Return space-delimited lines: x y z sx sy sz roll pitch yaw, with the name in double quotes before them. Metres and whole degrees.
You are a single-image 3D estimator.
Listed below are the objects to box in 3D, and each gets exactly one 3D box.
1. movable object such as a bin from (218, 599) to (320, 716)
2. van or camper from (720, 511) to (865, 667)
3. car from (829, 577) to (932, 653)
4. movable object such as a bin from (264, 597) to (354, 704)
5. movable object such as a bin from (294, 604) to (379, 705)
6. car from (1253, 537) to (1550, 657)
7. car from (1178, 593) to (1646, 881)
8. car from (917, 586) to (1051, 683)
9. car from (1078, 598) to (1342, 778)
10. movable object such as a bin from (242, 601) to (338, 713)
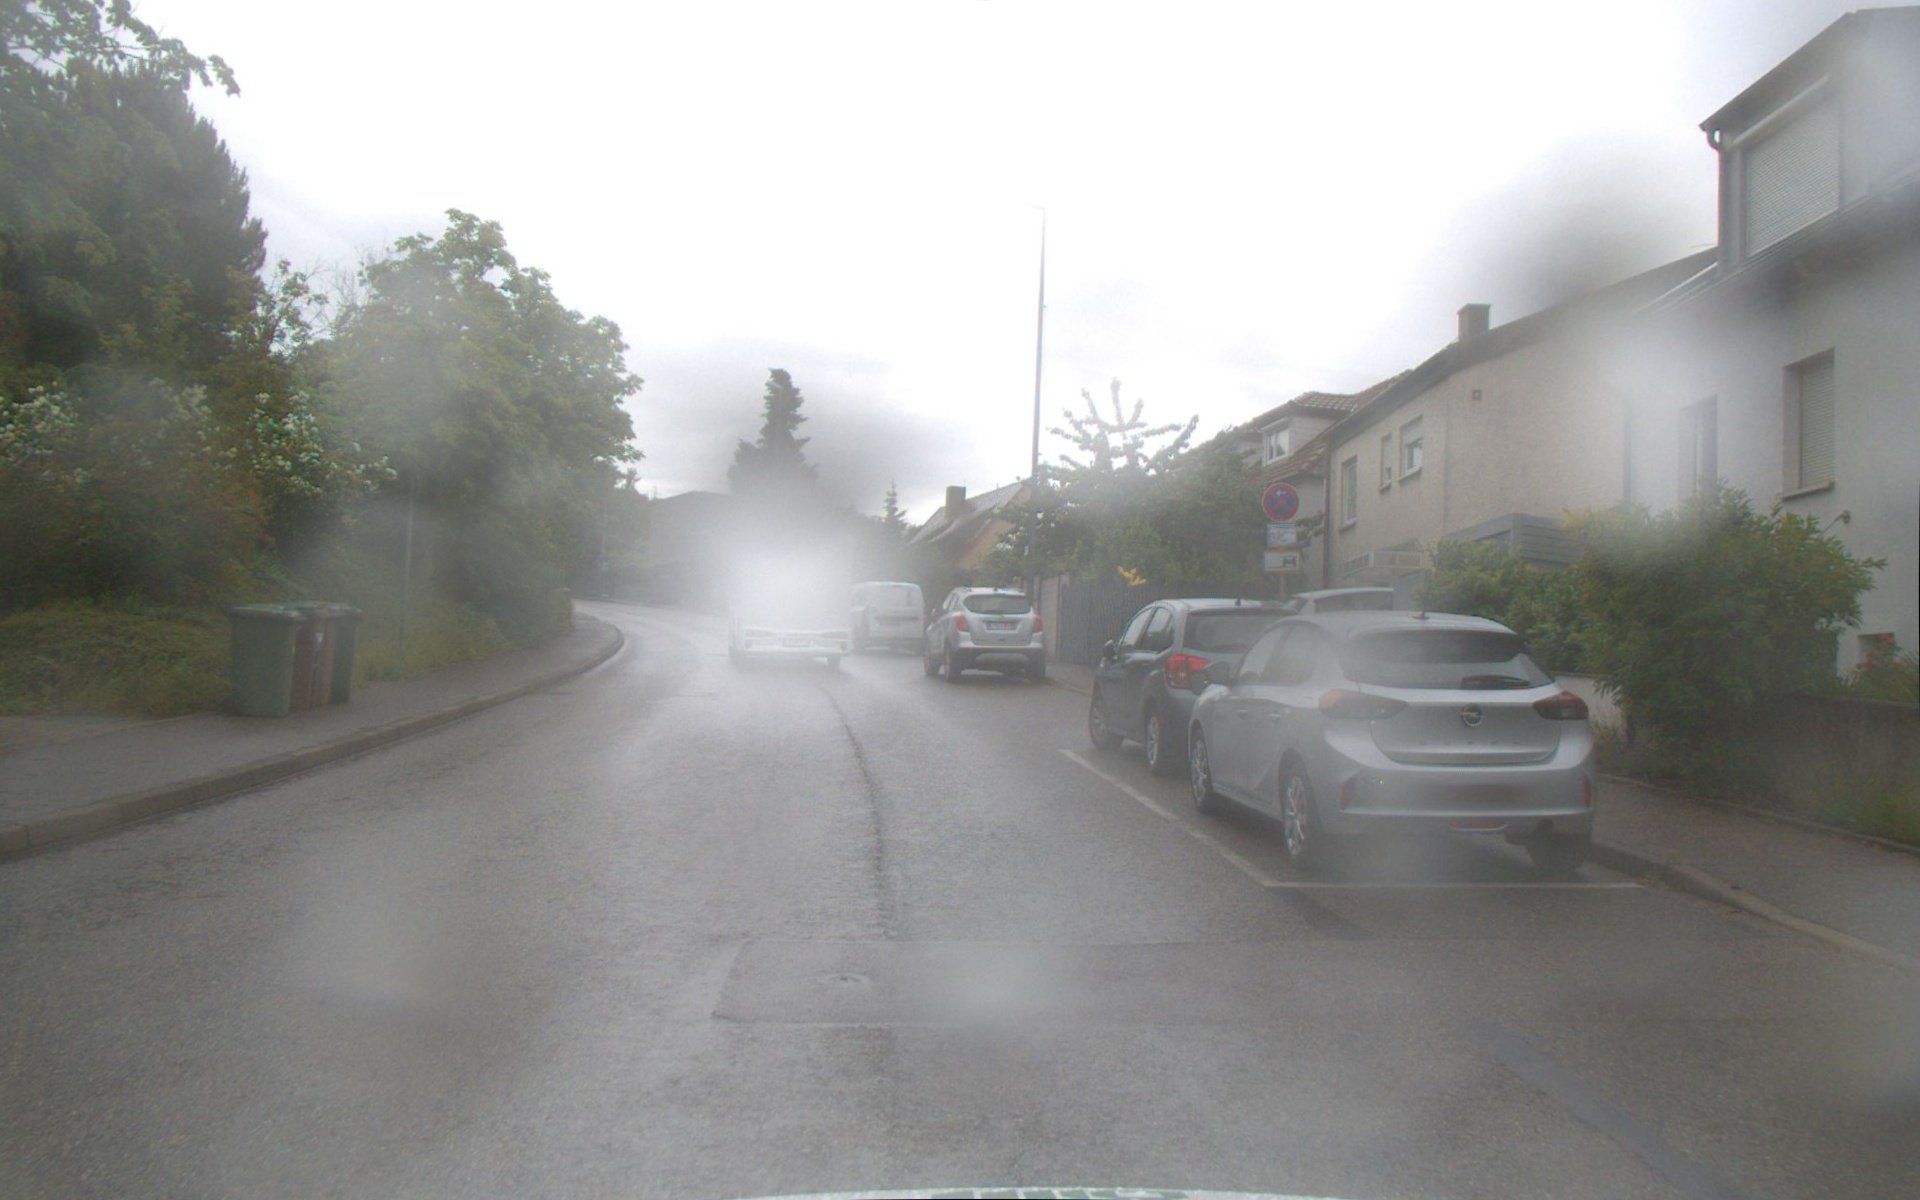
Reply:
"movable object such as a bin" -6.746 0.552 16.178 0.754 1.115 0.736 1 0 -10
"van or camper" -3.681 -0.210 35.173 2.495 2.976 5.932 1 0 -11
"car" -2.142 0.367 43.243 1.749 1.835 4.690 1 0 -14
"movable object such as a bin" -6.936 0.531 17.659 0.754 1.115 0.670 1 0 -10
"movable object such as a bin" -6.923 0.597 18.394 0.754 1.086 0.689 1 0 -10
"car" 6.591 -0.025 24.949 3.908 1.617 1.934 2 -1 -4
"car" 2.679 0.709 10.862 1.733 1.493 4.232 0 0 -3
"car" 0.362 0.575 30.514 1.771 1.655 4.279 0 0 -9
"car" 2.281 0.747 16.036 1.627 1.493 3.758 0 0 -6
"movable object such as a bin" -6.840 0.574 16.921 0.754 1.115 0.736 1 0 -10
